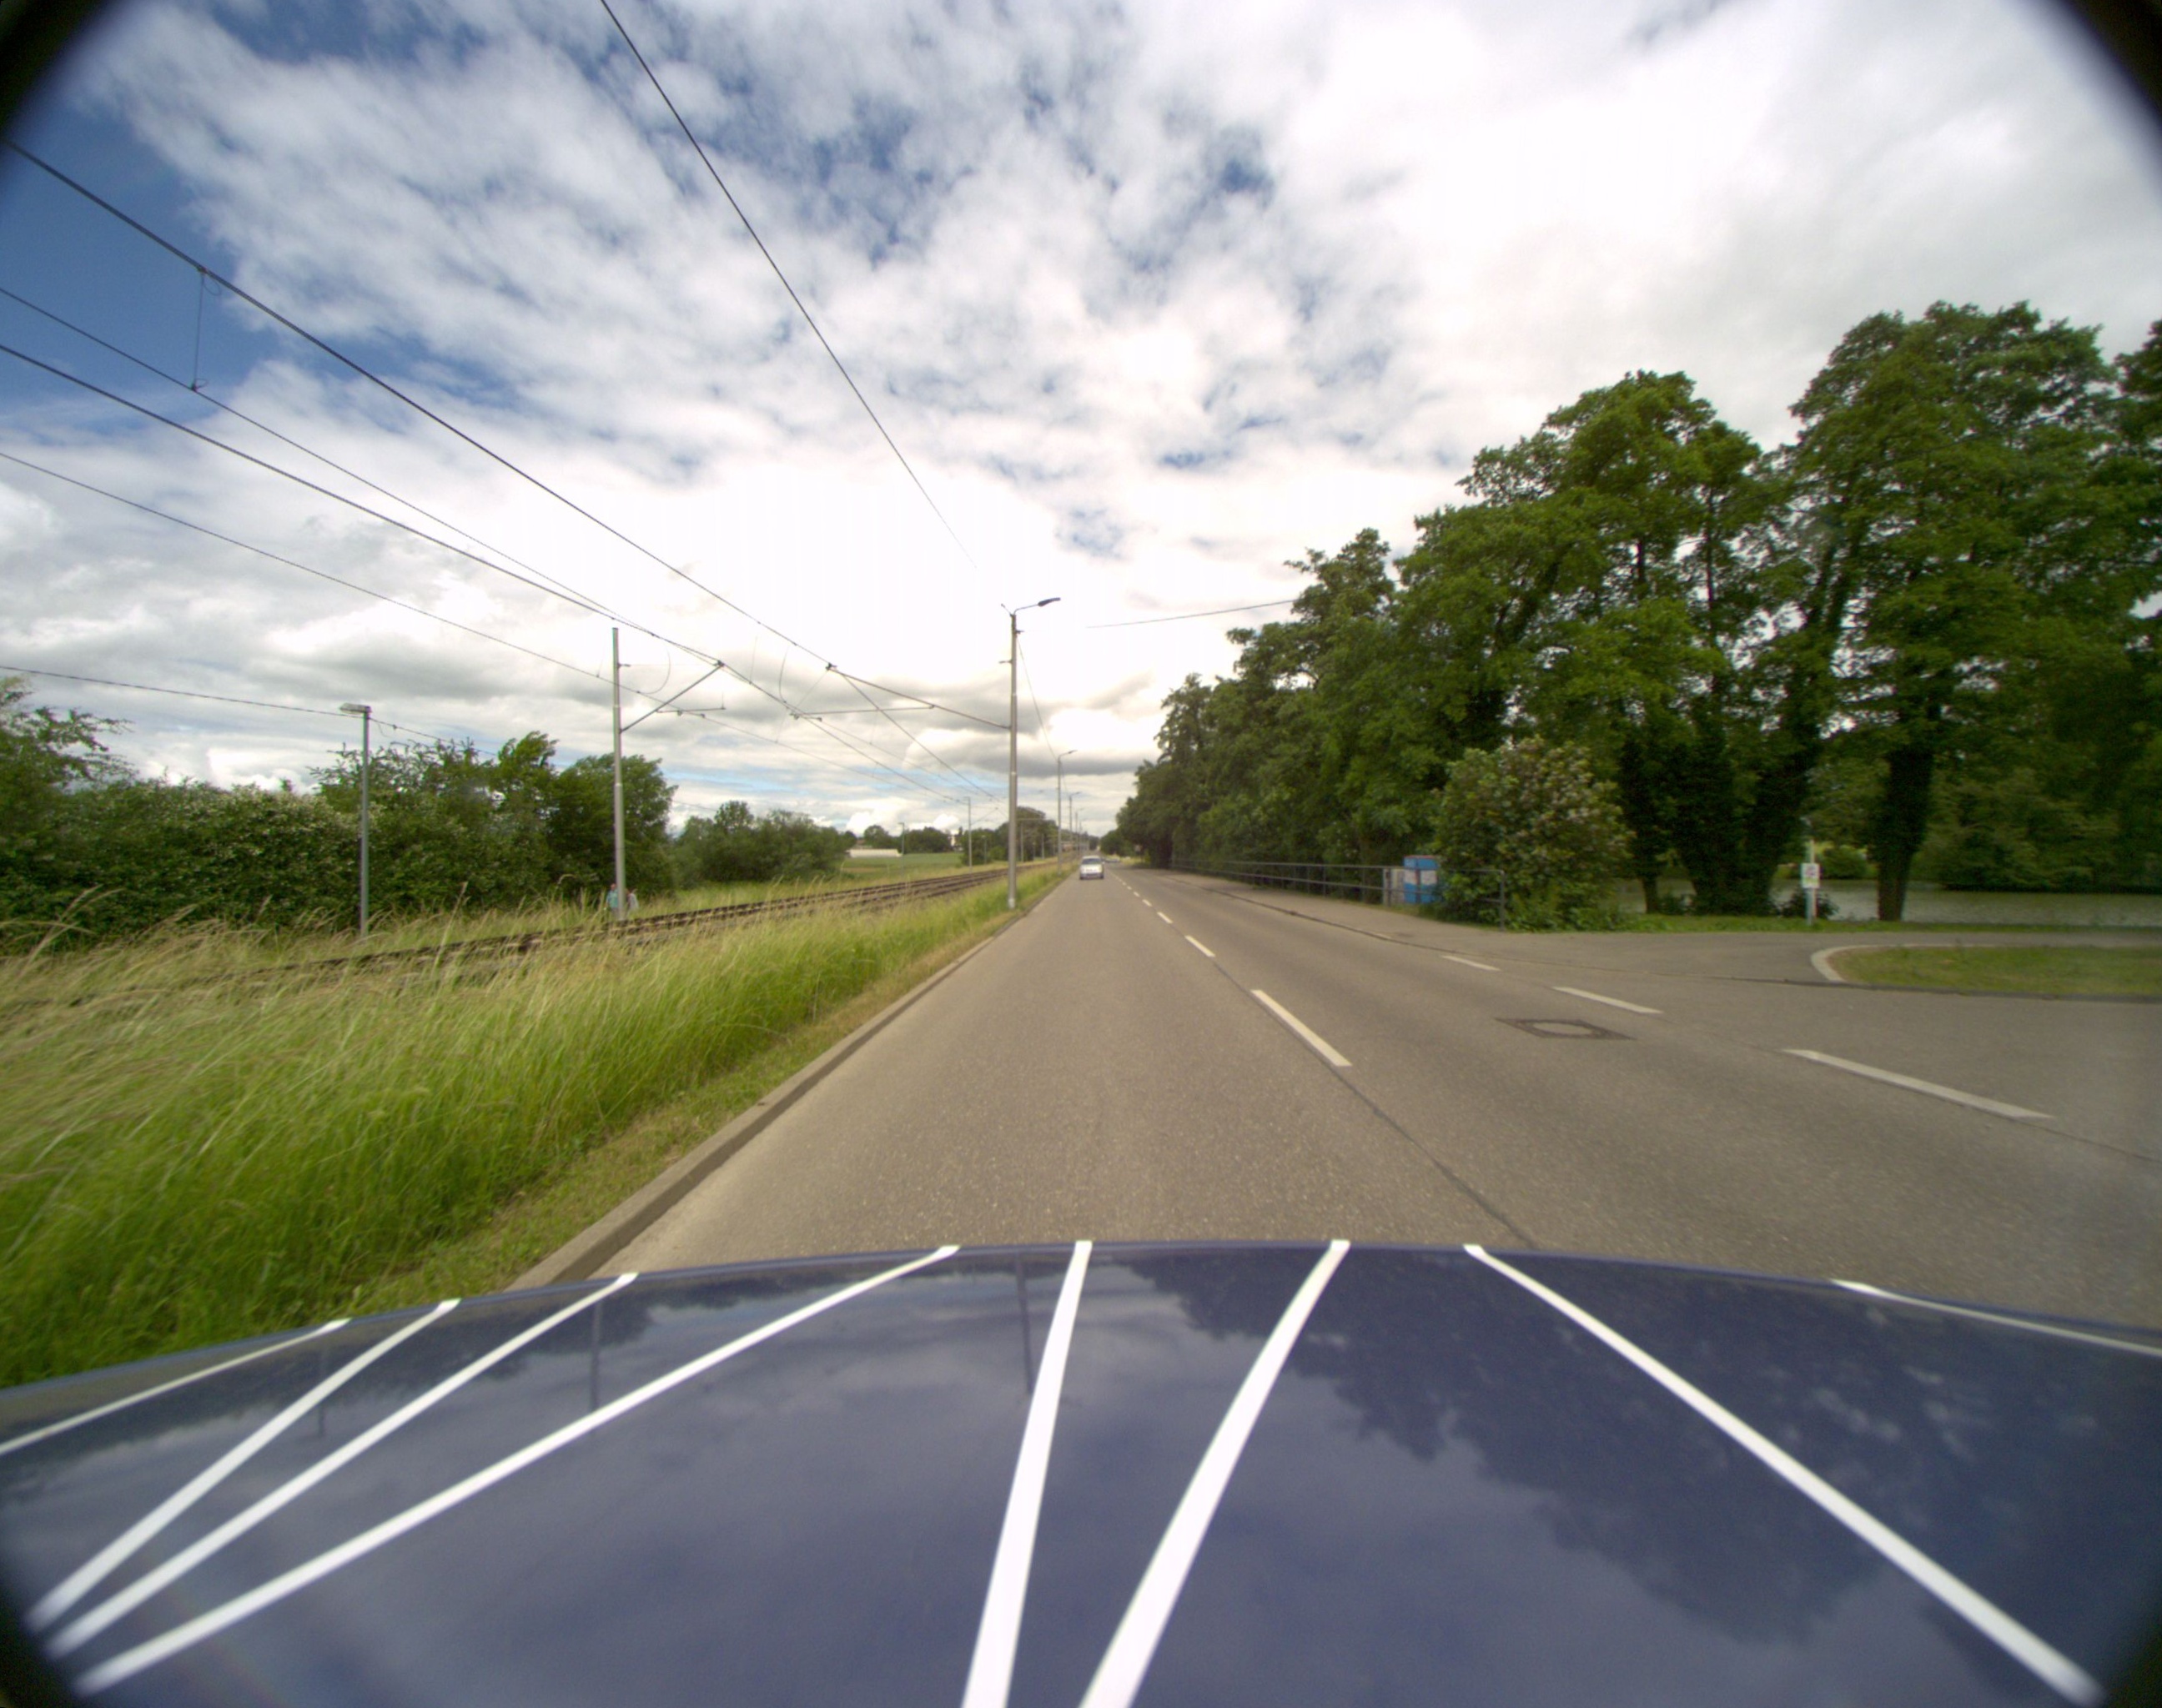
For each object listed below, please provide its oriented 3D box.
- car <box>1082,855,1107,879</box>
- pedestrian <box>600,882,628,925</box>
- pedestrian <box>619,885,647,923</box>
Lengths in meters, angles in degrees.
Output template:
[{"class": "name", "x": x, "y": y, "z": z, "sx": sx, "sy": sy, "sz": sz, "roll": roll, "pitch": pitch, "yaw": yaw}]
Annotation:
[{"class": "car", "x": 0.931, "y": 0.877, "z": 52.540, "sx": 1.643, "sy": 1.510, "sz": 3.869, "roll": -2, "pitch": 1, "yaw": 1}, {"class": "pedestrian", "x": -18.325, "y": 1.936, "z": 29.819, "sx": 0.618, "sy": 1.613, "sz": 0.584, "roll": -2, "pitch": 1, "yaw": 4}, {"class": "pedestrian", "x": -17.428, "y": 1.940, "z": 29.570, "sx": 0.599, "sy": 1.422, "sz": 0.666, "roll": -2, "pitch": 1, "yaw": 2}]
